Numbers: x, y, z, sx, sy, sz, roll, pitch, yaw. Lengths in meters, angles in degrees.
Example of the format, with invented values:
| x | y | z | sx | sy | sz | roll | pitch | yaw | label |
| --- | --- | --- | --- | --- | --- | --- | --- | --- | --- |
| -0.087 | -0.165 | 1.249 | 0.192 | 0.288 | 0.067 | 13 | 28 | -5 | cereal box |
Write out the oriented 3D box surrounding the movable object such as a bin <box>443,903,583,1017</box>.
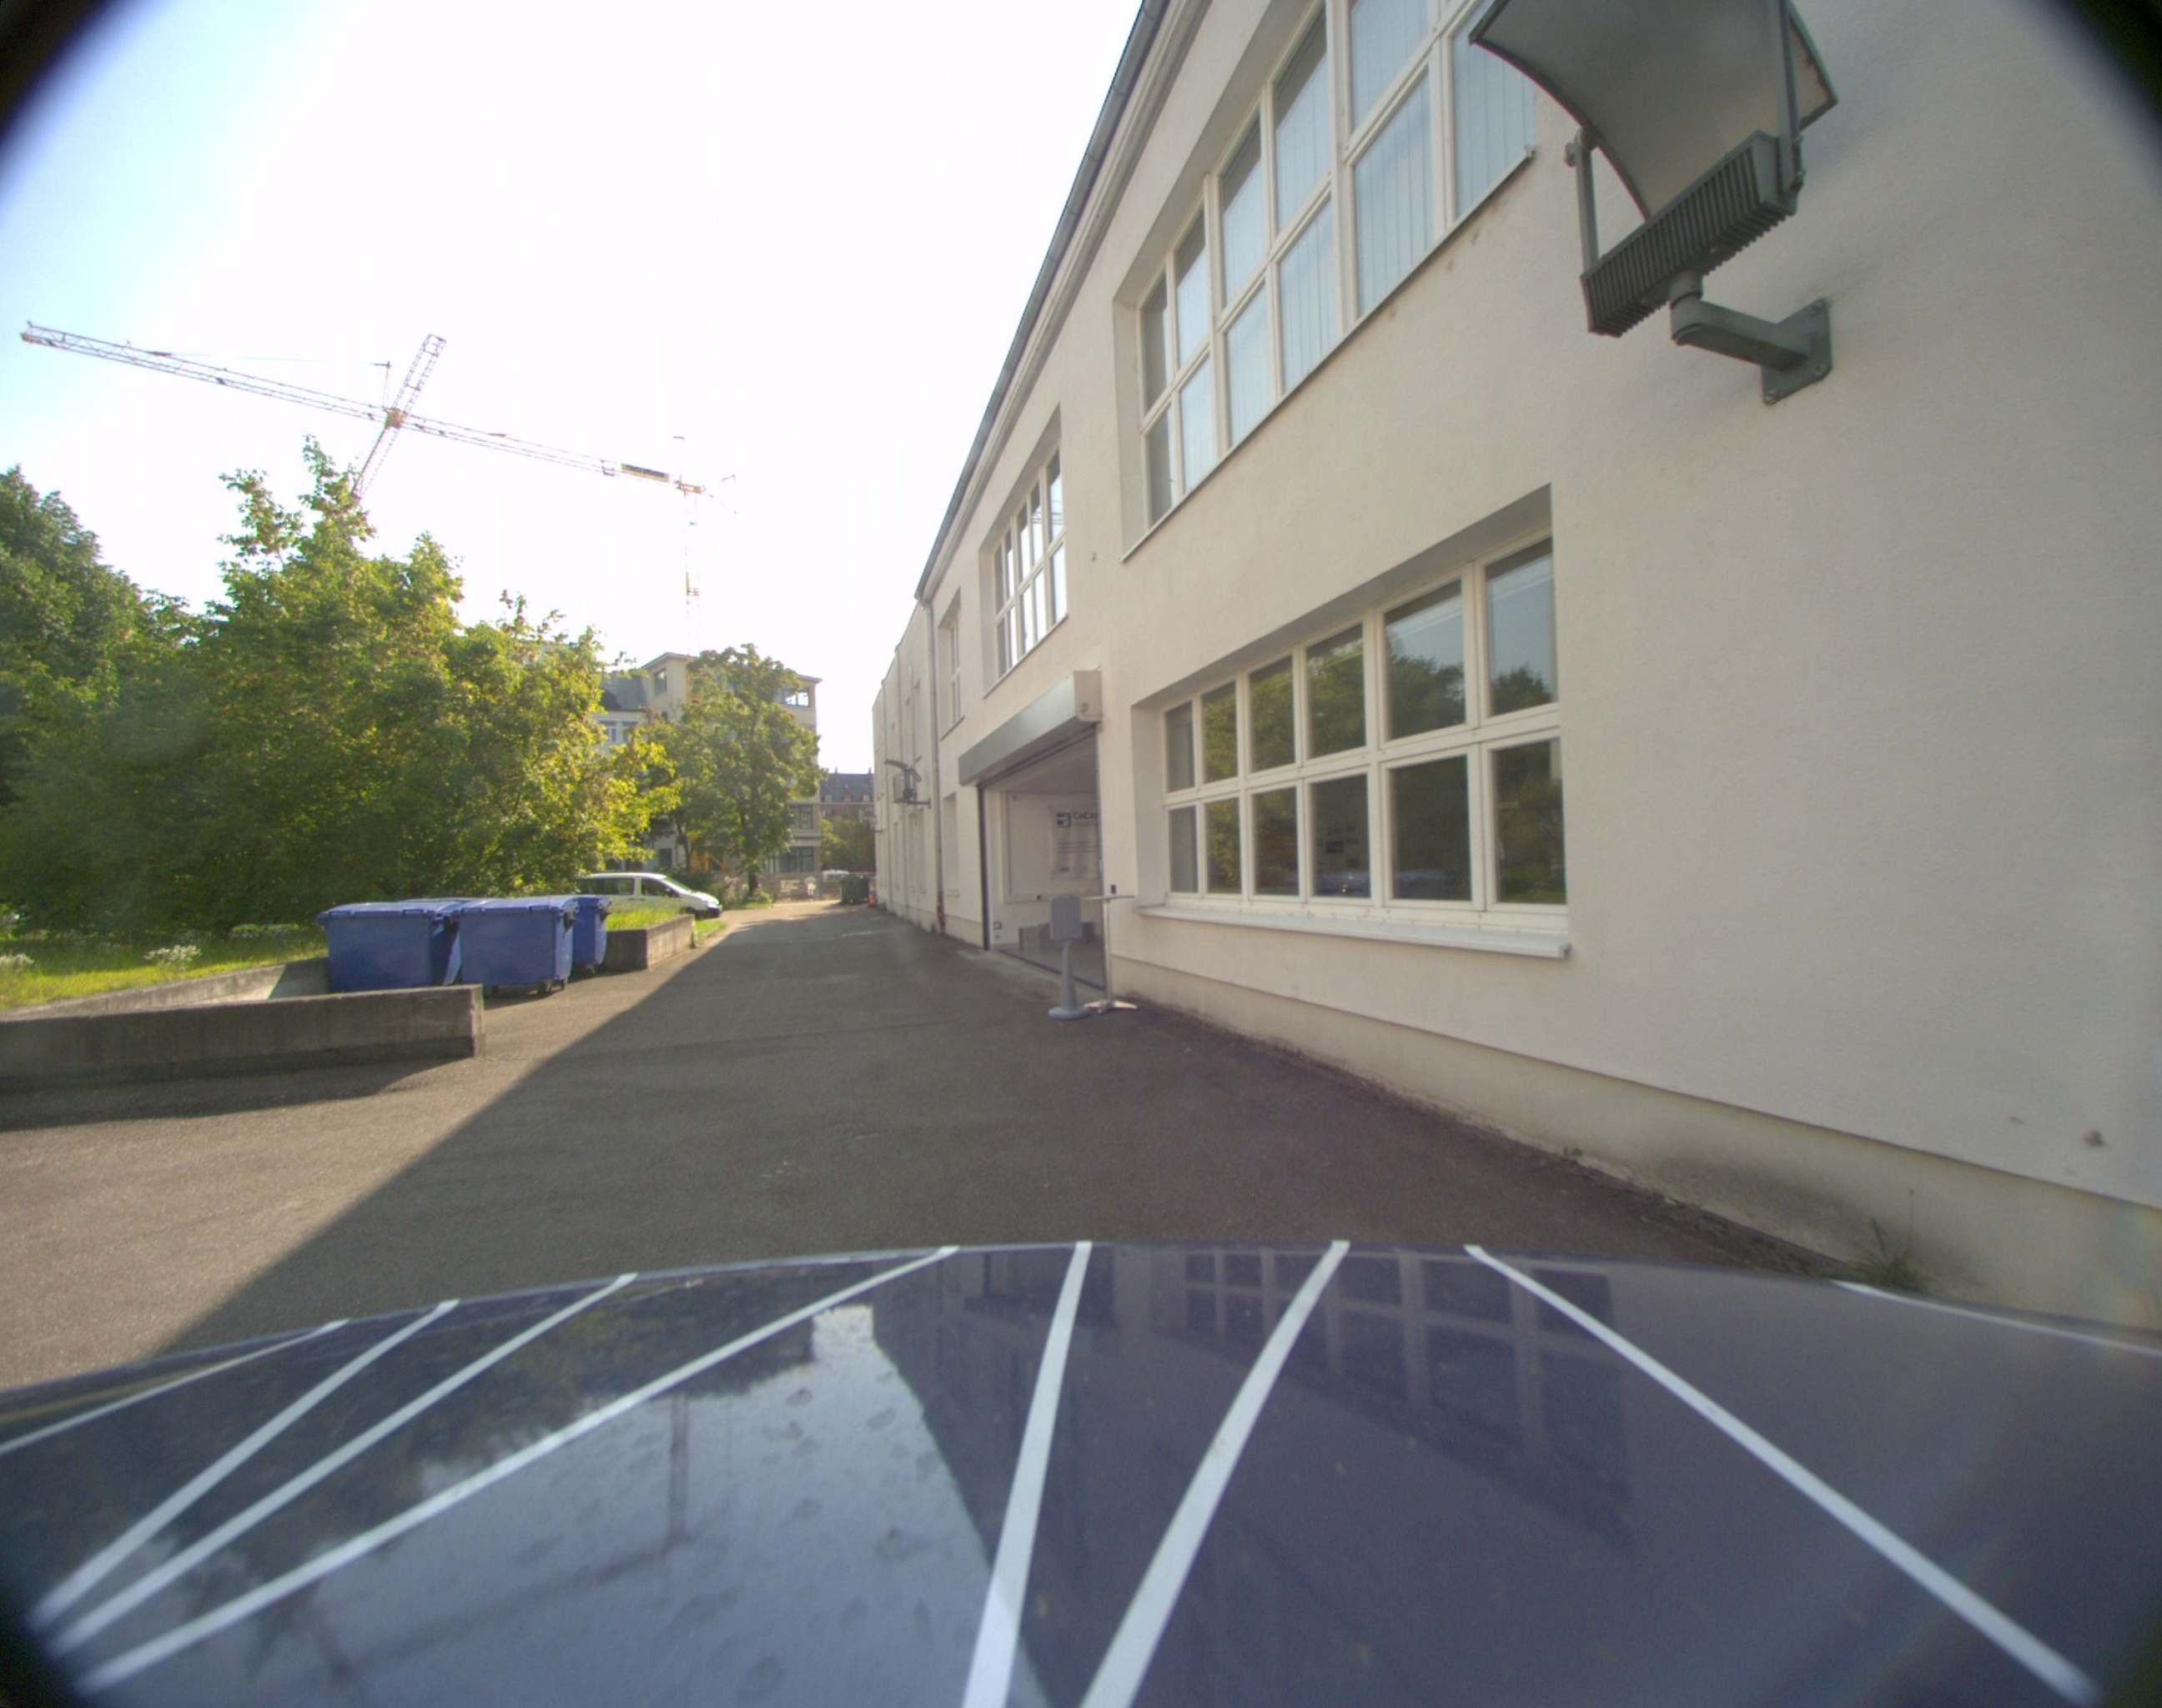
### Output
| x | y | z | sx | sy | sz | roll | pitch | yaw | label |
| --- | --- | --- | --- | --- | --- | --- | --- | --- | --- |
| -7.802 | 1.406 | 10.541 | 1.215 | 1.343 | 1.273 | -2 | 0 | -21 | movable object such as a bin |

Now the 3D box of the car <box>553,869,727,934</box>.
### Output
| x | y | z | sx | sy | sz | roll | pitch | yaw | label |
| --- | --- | --- | --- | --- | --- | --- | --- | --- | --- |
| -14.940 | 1.567 | 26.037 | 4.797 | 1.920 | 1.906 | -2 | -1 | -17 | car |

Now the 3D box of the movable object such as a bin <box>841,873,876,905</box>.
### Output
| x | y | z | sx | sy | sz | roll | pitch | yaw | label |
| --- | --- | --- | --- | --- | --- | --- | --- | --- | --- |
| -10.953 | 1.698 | 37.409 | 1.527 | 1.457 | 1.273 | -2 | 0 | -19 | movable object such as a bin |

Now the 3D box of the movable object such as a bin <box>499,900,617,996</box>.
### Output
| x | y | z | sx | sy | sz | roll | pitch | yaw | label |
| --- | --- | --- | --- | --- | --- | --- | --- | --- | --- |
| -8.234 | 1.438 | 12.051 | 1.201 | 1.319 | 1.273 | -2 | 0 | -19 | movable object such as a bin |

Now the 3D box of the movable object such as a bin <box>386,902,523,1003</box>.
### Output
| x | y | z | sx | sy | sz | roll | pitch | yaw | label |
| --- | --- | --- | --- | --- | --- | --- | --- | --- | --- |
| -9.531 | 1.456 | 11.643 | 1.201 | 1.319 | 1.273 | -2 | 0 | -19 | movable object such as a bin |

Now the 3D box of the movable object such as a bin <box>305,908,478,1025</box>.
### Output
| x | y | z | sx | sy | sz | roll | pitch | yaw | label |
| --- | --- | --- | --- | --- | --- | --- | --- | --- | --- |
| -9.099 | 1.438 | 10.129 | 1.259 | 1.319 | 1.273 | -2 | 0 | -19 | movable object such as a bin |
